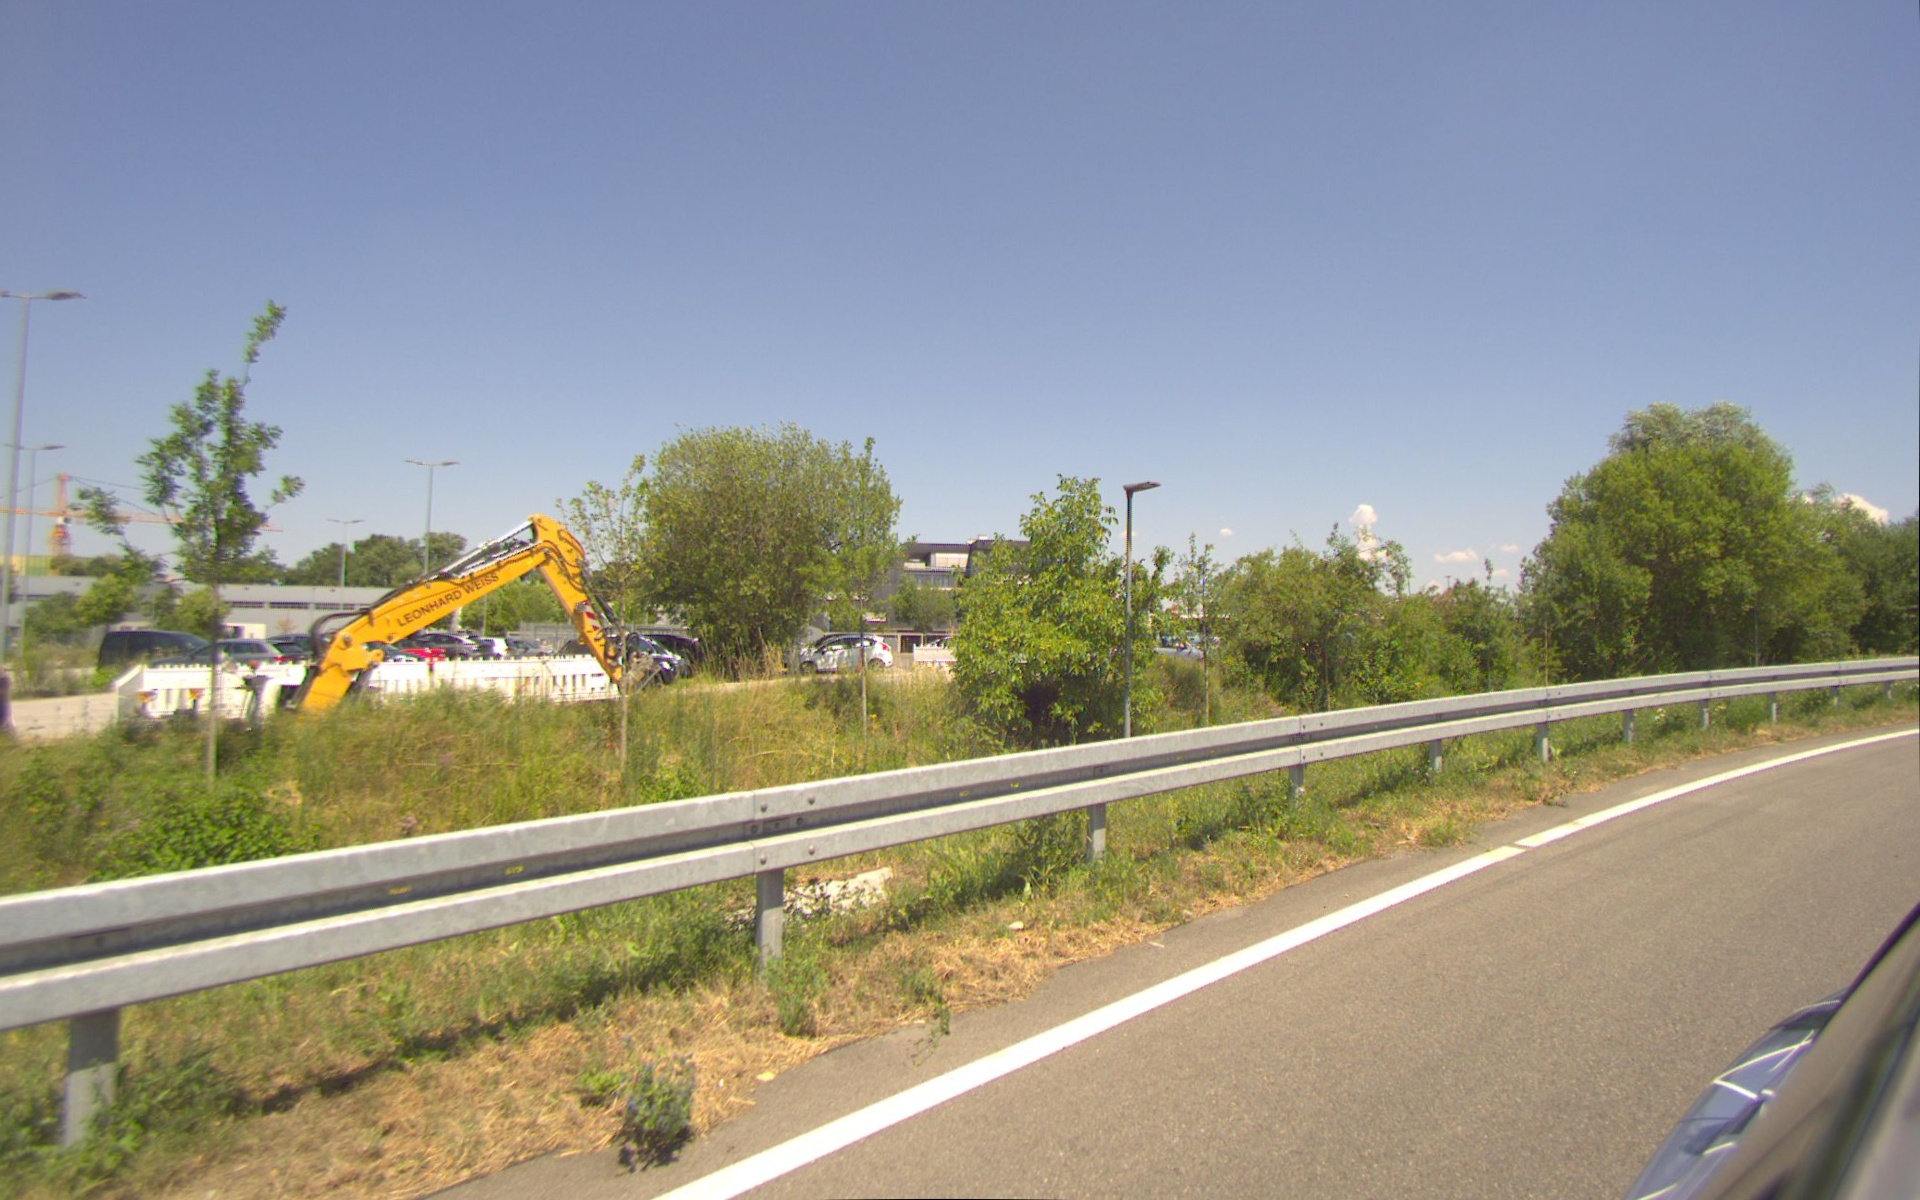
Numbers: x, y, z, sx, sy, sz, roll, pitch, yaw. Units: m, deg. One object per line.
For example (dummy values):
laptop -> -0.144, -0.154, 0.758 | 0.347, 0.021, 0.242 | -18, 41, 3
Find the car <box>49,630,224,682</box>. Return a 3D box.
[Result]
car -> -29.490, 1.988, 36.361 | 4.448, 1.707, 2.105 | -1, -1, -7

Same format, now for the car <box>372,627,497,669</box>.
car -> -22.288, 2.022, 43.072 | 4.336, 1.706, 1.948 | 0, 0, -3

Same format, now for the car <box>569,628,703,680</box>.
car -> -10.981, 1.817, 34.576 | 4.070, 1.655, 2.003 | 0, 0, -8

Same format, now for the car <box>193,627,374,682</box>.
car -> -21.799, 1.737, 32.761 | 4.499, 1.658, 2.016 | 0, 0, -3

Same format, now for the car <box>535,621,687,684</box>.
car -> -10.046, 1.484, 29.424 | 3.917, 1.694, 2.003 | 0, 0, -9

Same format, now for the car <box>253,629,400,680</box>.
car -> -22.157, 1.883, 35.499 | 3.921, 1.658, 1.948 | 0, 0, -3

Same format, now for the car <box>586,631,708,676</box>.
car -> -11.668, 1.969, 37.972 | 4.071, 1.563, 2.003 | 0, 0, -8

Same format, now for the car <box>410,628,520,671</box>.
car -> -23.829, 2.350, 48.824 | 4.336, 1.949, 1.948 | 0, -1, -3

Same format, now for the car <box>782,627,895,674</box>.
car -> -4.426, 1.816, 37.097 | 4.005, 1.588, 1.949 | 0, 0, -6

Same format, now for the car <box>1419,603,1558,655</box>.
car -> 21.573, 1.204, 41.507 | 1.962, 1.994, 4.692 | 3, -3, -35

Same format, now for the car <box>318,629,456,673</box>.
car -> -22.969, 2.040, 40.667 | 4.431, 1.658, 1.948 | 0, 0, -3

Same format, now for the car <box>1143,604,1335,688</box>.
car -> 8.201, 1.356, 30.139 | 2.099, 2.288, 5.220 | 4, -4, -44

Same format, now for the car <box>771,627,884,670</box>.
car -> -5.131, 1.859, 39.615 | 4.256, 1.576, 1.949 | 0, 0, -4

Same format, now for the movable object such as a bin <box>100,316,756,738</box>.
movable object such as a bin -> -8.334, -0.706, 17.092 | 9.071, 5.330, 3.427 | 4, -4, -43

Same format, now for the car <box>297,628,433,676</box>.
car -> -22.241, 1.925, 37.952 | 3.921, 1.658, 1.948 | 0, 0, -3

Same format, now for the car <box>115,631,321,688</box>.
car -> -21.714, 1.734, 29.774 | 4.521, 1.527, 2.002 | 0, 0, -4

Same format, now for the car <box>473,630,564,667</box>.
car -> -24.869, 2.727, 57.127 | 4.336, 1.949, 1.948 | 0, -1, -3

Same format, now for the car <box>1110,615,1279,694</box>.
car -> 6.423, 1.483, 28.064 | 1.963, 1.994, 4.304 | 3, -4, -38
